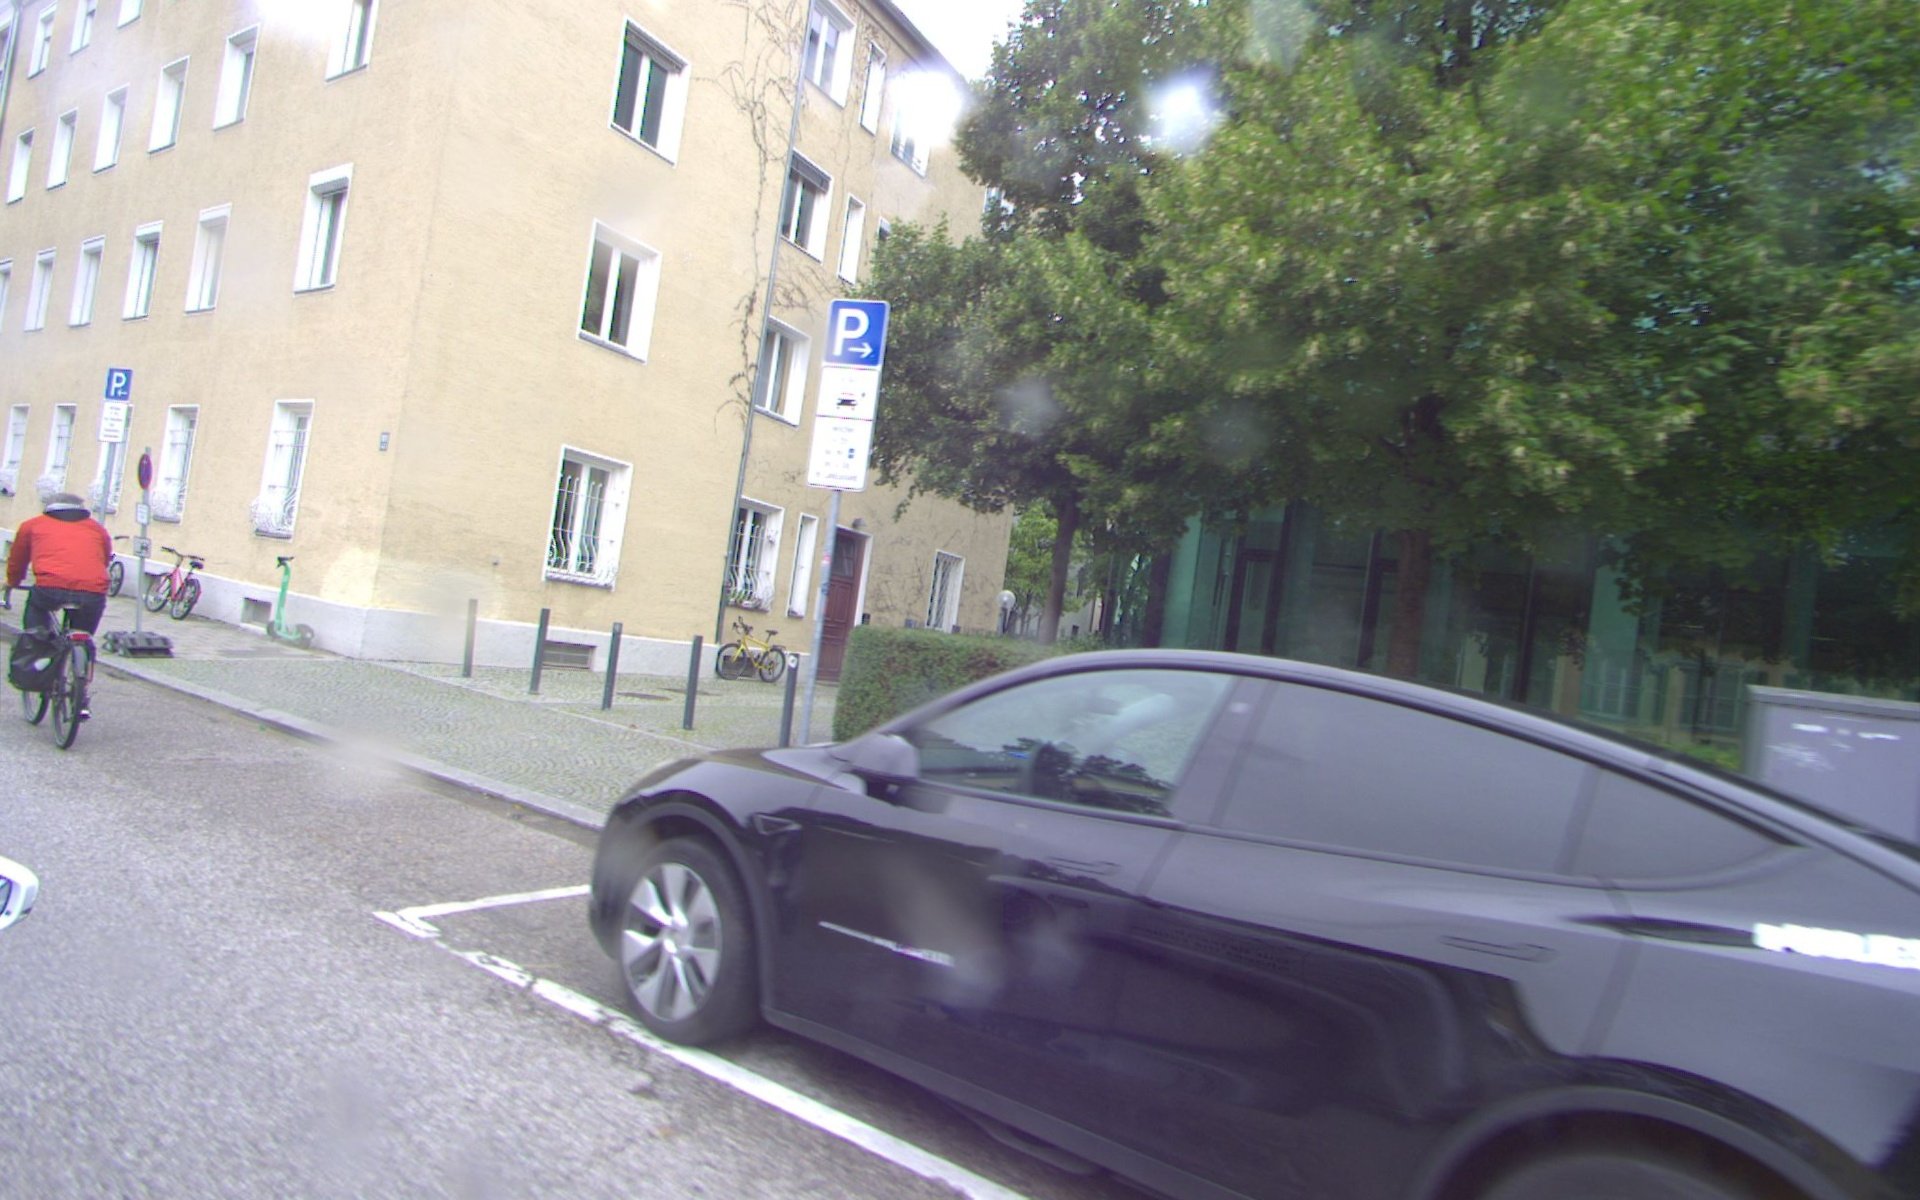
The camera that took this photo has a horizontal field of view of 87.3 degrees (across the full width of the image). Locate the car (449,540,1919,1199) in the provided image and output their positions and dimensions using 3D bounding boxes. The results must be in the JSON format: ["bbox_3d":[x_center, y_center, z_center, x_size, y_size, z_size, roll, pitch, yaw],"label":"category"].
[{"bbox_3d":[0.670,0.954,3.488,5.018,1.648,1.998,7,-4,34],"label":"car"}]

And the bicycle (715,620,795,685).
[{"bbox_3d":[-3.915,1.028,19.356,0.372,1.105,1.701,7,-2,28],"label":"bicycle"}]

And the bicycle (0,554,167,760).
[{"bbox_3d":[-6.291,0.335,6.878,1.979,1.154,0.673,6,-3,34],"label":"bicycle"}]

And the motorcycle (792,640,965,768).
[{"bbox_3d":[-0.805,1.065,10.587,0.697,1.147,1.895,7,0,33],"label":"motorcycle"}]

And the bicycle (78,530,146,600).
[{"bbox_3d":[-15.398,-0.649,18.250,1.783,1.095,0.342,7,1,32],"label":"bicycle"}]

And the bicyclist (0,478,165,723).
[{"bbox_3d":[-6.166,-0.003,6.840,0.966,1.499,0.756,7,-3,34],"label":"bicyclist"}]

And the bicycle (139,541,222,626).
[{"bbox_3d":[-12.379,-0.280,15.952,1.730,1.148,0.342,7,-1,32],"label":"bicycle"}]

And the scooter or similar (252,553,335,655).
[{"bbox_3d":[-9.255,0.041,13.954,1.287,1.271,0.342,7,0,32],"label":"scooter or similar"}]
